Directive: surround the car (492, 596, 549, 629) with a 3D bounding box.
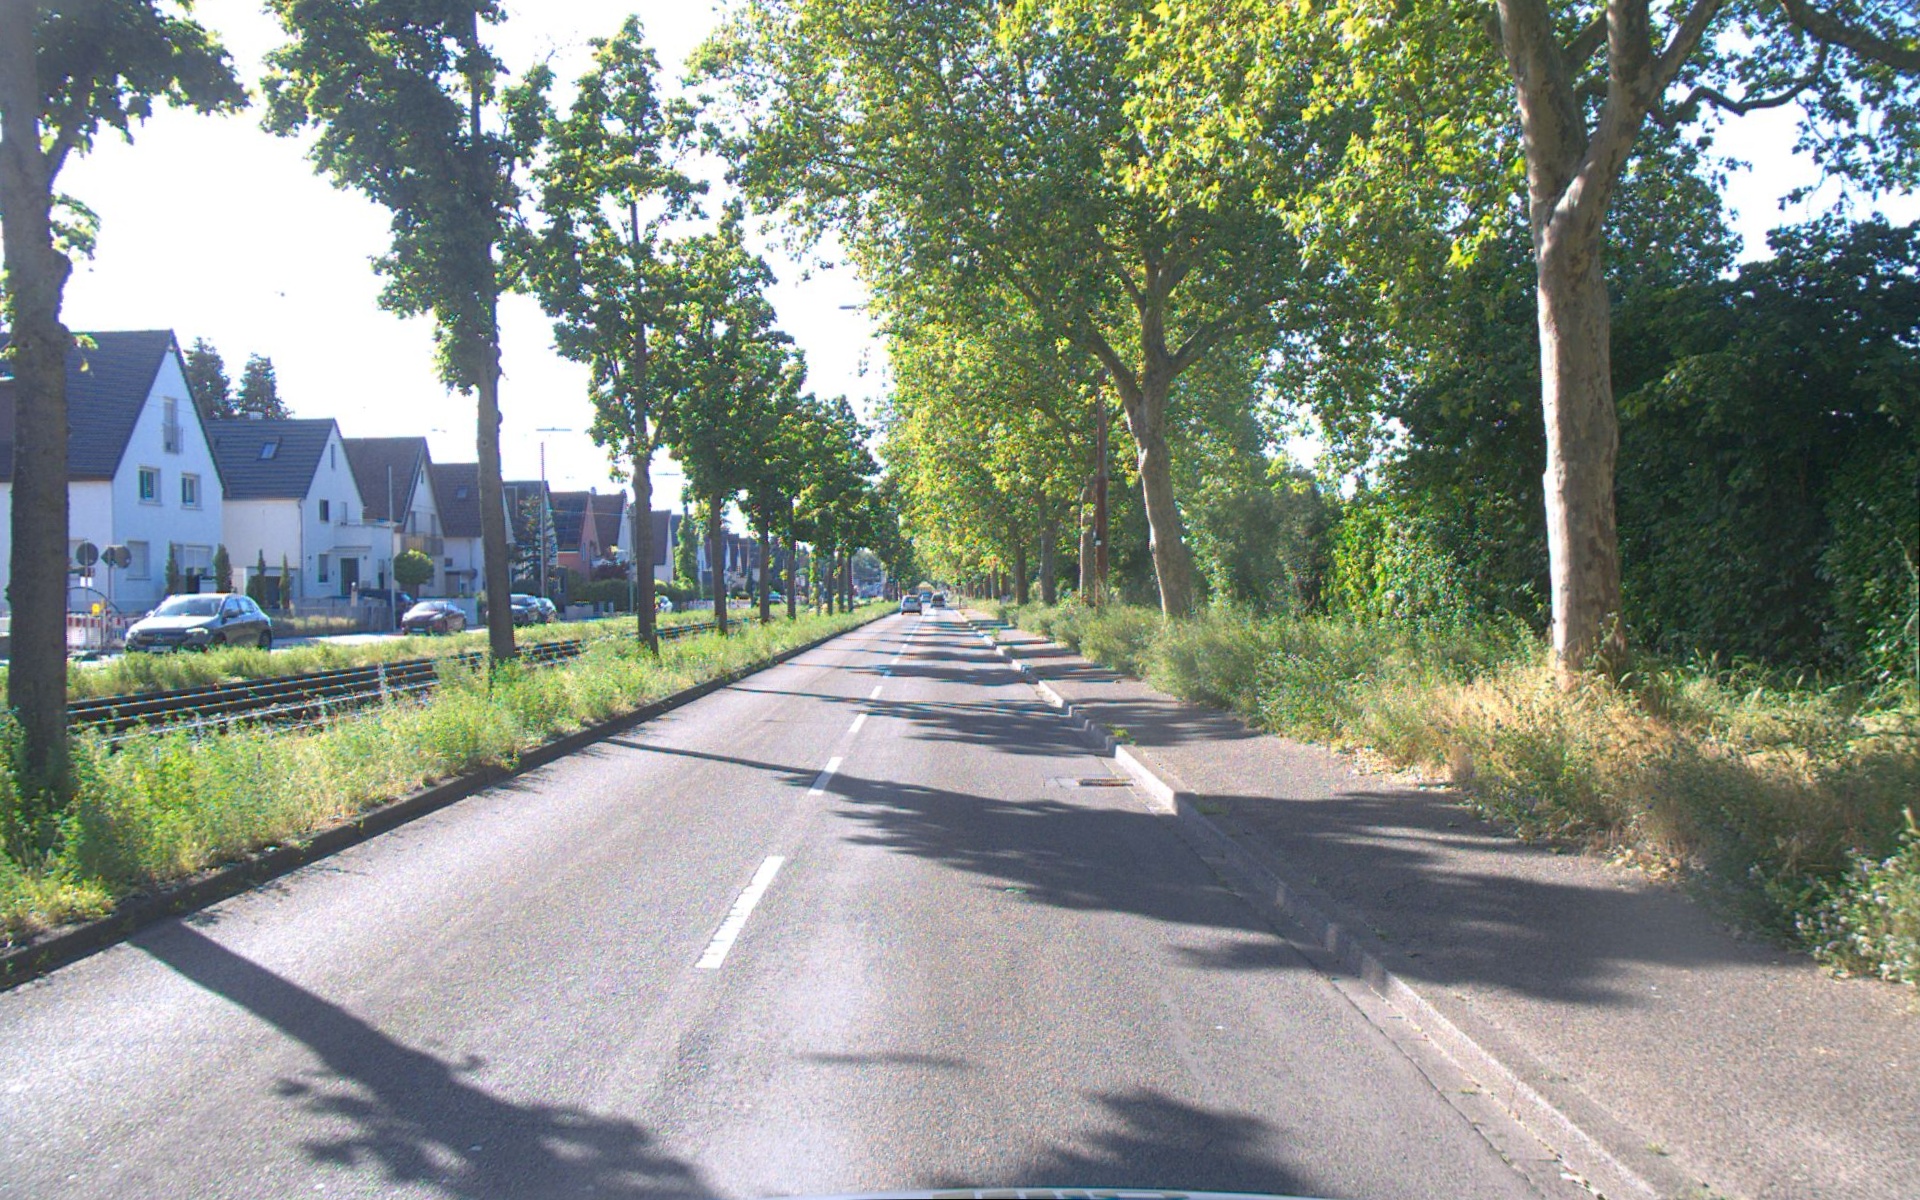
[{"bbox_3d":[-21.647,0.613,81.553,1.610,1.595,4.386,0,0,1],"label":"car"}]

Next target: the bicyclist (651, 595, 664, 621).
[{"bbox_3d":[-20.054,0.524,109.527,0.674,1.681,0.881,-1,0,-1],"label":"bicyclist"}]

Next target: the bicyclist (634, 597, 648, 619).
[{"bbox_3d":[-20.372,0.522,105.675,0.674,1.360,0.881,-1,0,-1],"label":"bicyclist"}]

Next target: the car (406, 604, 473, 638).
[{"bbox_3d":[-21.693,0.860,69.053,1.463,1.349,4.000,0,0,1],"label":"car"}]

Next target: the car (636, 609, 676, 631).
[{"bbox_3d":[-22.939,1.485,124.973,1.952,1.627,4.733,0,0,3],"label":"car"}]

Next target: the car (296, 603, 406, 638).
[{"bbox_3d":[-26.616,0.887,72.423,4.130,1.489,1.936,0,0,-5],"label":"car"}]

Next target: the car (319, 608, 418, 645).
[{"bbox_3d":[-27.377,1.219,76.629,3.909,1.699,1.998,0,0,-5],"label":"car"}]

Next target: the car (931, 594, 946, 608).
[{"bbox_3d":[-2.521,0.140,192.749,1.725,1.539,3.276,0,0,0],"label":"car"}]

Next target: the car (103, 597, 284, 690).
[{"bbox_3d":[-16.845,0.910,36.610,1.876,1.916,4.523,0,0,0],"label":"car"}]

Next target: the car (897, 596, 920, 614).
[{"bbox_3d":[-3.954,0.386,126.305,1.703,1.425,3.276,0,0,-1],"label":"car"}]
